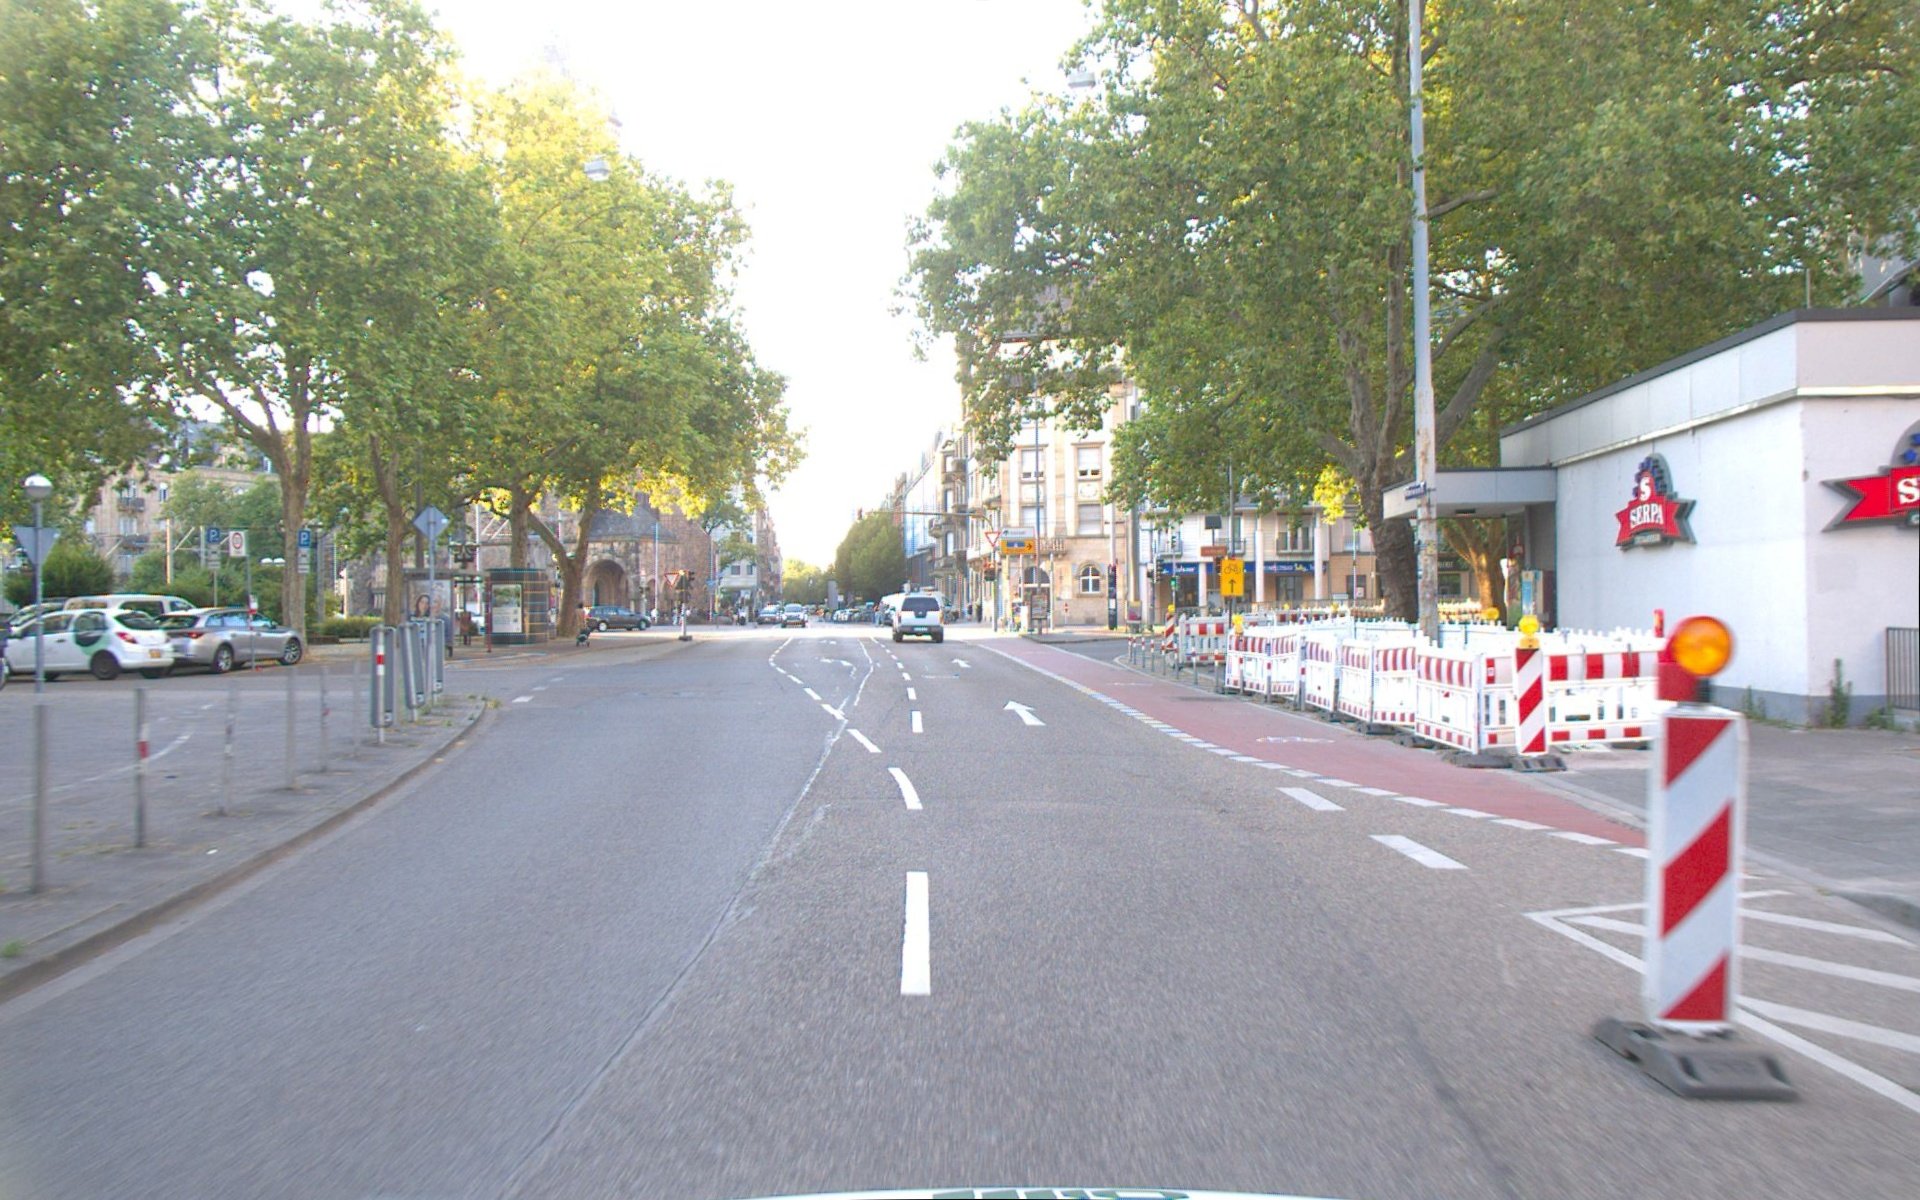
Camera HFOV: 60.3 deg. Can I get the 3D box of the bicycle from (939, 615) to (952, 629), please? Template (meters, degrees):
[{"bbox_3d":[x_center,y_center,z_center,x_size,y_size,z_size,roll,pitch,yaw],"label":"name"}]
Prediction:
[{"bbox_3d":[-1.080,1.644,122.421,0.532,0.985,1.923,-1,0,12],"label":"bicycle"}]

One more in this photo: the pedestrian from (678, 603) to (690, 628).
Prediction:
[{"bbox_3d":[-21.416,1.226,128.308,0.641,1.920,0.585,-1,-1,27],"label":"pedestrian"}]

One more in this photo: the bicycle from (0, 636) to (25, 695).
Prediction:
[{"bbox_3d":[-17.947,1.199,30.420,1.785,1.060,0.478,-1,-1,31],"label":"bicycle"}]

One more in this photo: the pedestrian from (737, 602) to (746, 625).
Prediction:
[{"bbox_3d":[-18.920,1.175,143.252,0.581,1.920,0.553,-1,-1,22],"label":"pedestrian"}]

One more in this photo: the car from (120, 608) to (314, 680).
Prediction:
[{"bbox_3d":[-17.464,0.999,39.151,1.780,1.507,4.635,-1,0,12],"label":"car"}]

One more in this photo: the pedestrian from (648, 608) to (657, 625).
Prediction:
[{"bbox_3d":[-24.352,1.293,131.156,0.560,1.343,0.487,-1,-1,10],"label":"pedestrian"}]

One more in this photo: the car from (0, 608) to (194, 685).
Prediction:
[{"bbox_3d":[-18.498,0.953,34.750,3.902,1.545,2.002,-1,0,8],"label":"car"}]

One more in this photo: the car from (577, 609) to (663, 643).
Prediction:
[{"bbox_3d":[-20.034,1.526,97.589,4.565,1.873,2.065,-1,0,-29],"label":"car"}]

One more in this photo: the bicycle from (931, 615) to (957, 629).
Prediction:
[{"bbox_3d":[-1.177,1.619,120.272,1.876,0.985,0.545,-1,0,-3],"label":"bicycle"}]

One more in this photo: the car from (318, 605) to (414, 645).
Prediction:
[{"bbox_3d":[-29.913,1.229,83.414,2.035,1.873,4.632,-1,0,20],"label":"car"}]

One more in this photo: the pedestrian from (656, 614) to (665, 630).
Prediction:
[{"bbox_3d":[-23.616,1.724,130.308,0.487,1.309,0.493,-1,-1,15],"label":"pedestrian"}]

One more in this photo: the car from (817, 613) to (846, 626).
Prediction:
[{"bbox_3d":[-18.114,2.726,233.226,3.911,1.847,1.997,0,0,-8],"label":"car"}]

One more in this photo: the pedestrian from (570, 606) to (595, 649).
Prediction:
[{"bbox_3d":[-14.530,1.064,63.655,0.722,1.657,0.686,-1,0,10],"label":"pedestrian"}]

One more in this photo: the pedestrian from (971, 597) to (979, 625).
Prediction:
[{"bbox_3d":[1.066,0.788,116.541,0.581,1.920,0.647,-1,0,1],"label":"pedestrian"}]

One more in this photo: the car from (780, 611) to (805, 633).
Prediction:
[{"bbox_3d":[-13.248,1.726,130.684,1.749,1.680,3.813,1,-1,-9],"label":"car"}]

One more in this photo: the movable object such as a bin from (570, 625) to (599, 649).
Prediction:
[{"bbox_3d":[-14.244,1.403,62.721,0.722,0.906,0.983,-1,0,10],"label":"movable object such as a bin"}]

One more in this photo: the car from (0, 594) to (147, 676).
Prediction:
[{"bbox_3d":[-22.611,0.819,40.694,2.034,1.873,4.634,-1,0,18],"label":"car"}]

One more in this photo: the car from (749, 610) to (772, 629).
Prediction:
[{"bbox_3d":[-18.380,1.821,152.329,1.957,1.680,3.813,1,-1,-9],"label":"car"}]

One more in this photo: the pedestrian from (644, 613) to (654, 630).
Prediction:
[{"bbox_3d":[-24.457,1.711,130.182,0.561,1.313,0.486,-1,-1,26],"label":"pedestrian"}]

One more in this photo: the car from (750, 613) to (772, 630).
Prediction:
[{"bbox_3d":[-19.265,2.073,160.013,1.957,1.680,3.813,1,-1,-9],"label":"car"}]

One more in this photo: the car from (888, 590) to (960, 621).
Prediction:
[{"bbox_3d":[-2.722,0.422,126.503,5.780,2.328,2.038,0,0,-45],"label":"car"}]

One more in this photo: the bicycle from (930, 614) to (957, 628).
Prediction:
[{"bbox_3d":[-1.197,1.499,119.993,1.876,0.985,0.545,-1,0,-3],"label":"bicycle"}]

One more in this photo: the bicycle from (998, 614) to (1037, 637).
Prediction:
[{"bbox_3d":[2.542,1.131,73.236,1.660,0.985,0.545,-1,0,-8],"label":"bicycle"}]

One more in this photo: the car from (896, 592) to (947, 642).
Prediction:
[{"bbox_3d":[-1.520,0.656,63.983,1.829,1.846,3.998,-2,0,-3],"label":"car"}]

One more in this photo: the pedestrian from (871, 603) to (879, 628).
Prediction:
[{"bbox_3d":[-6.546,1.195,127.640,0.581,1.920,0.647,-1,0,1],"label":"pedestrian"}]

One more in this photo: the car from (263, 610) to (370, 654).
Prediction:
[{"bbox_3d":[-29.542,1.447,76.074,2.035,1.873,4.632,-1,0,20],"label":"car"}]

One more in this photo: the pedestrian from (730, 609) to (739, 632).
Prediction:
[{"bbox_3d":[-19.557,1.783,143.429,0.581,1.920,0.585,-1,-1,23],"label":"pedestrian"}]

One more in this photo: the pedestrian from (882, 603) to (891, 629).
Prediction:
[{"bbox_3d":[-5.328,1.147,119.557,0.581,1.920,0.647,-1,0,1],"label":"pedestrian"}]

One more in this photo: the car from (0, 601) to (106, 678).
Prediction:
[{"bbox_3d":[-24.455,1.002,42.230,2.034,1.873,4.634,-1,0,18],"label":"car"}]

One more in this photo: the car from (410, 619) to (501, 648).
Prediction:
[{"bbox_3d":[-28.867,1.913,94.667,4.529,1.557,2.002,-1,0,12],"label":"car"}]

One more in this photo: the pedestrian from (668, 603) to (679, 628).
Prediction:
[{"bbox_3d":[-22.216,1.216,128.311,0.581,1.920,0.553,-1,-1,26],"label":"pedestrian"}]

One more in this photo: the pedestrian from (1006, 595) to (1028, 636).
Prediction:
[{"bbox_3d":[2.538,0.704,73.739,0.782,1.799,0.717,0,-1,-19],"label":"pedestrian"}]

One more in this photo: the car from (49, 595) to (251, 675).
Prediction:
[{"bbox_3d":[-20.000,0.824,41.071,1.780,1.831,4.634,-1,0,18],"label":"car"}]

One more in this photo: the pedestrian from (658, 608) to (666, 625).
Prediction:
[{"bbox_3d":[-23.603,1.308,130.956,0.491,1.303,0.488,0,-1,-26],"label":"pedestrian"}]
